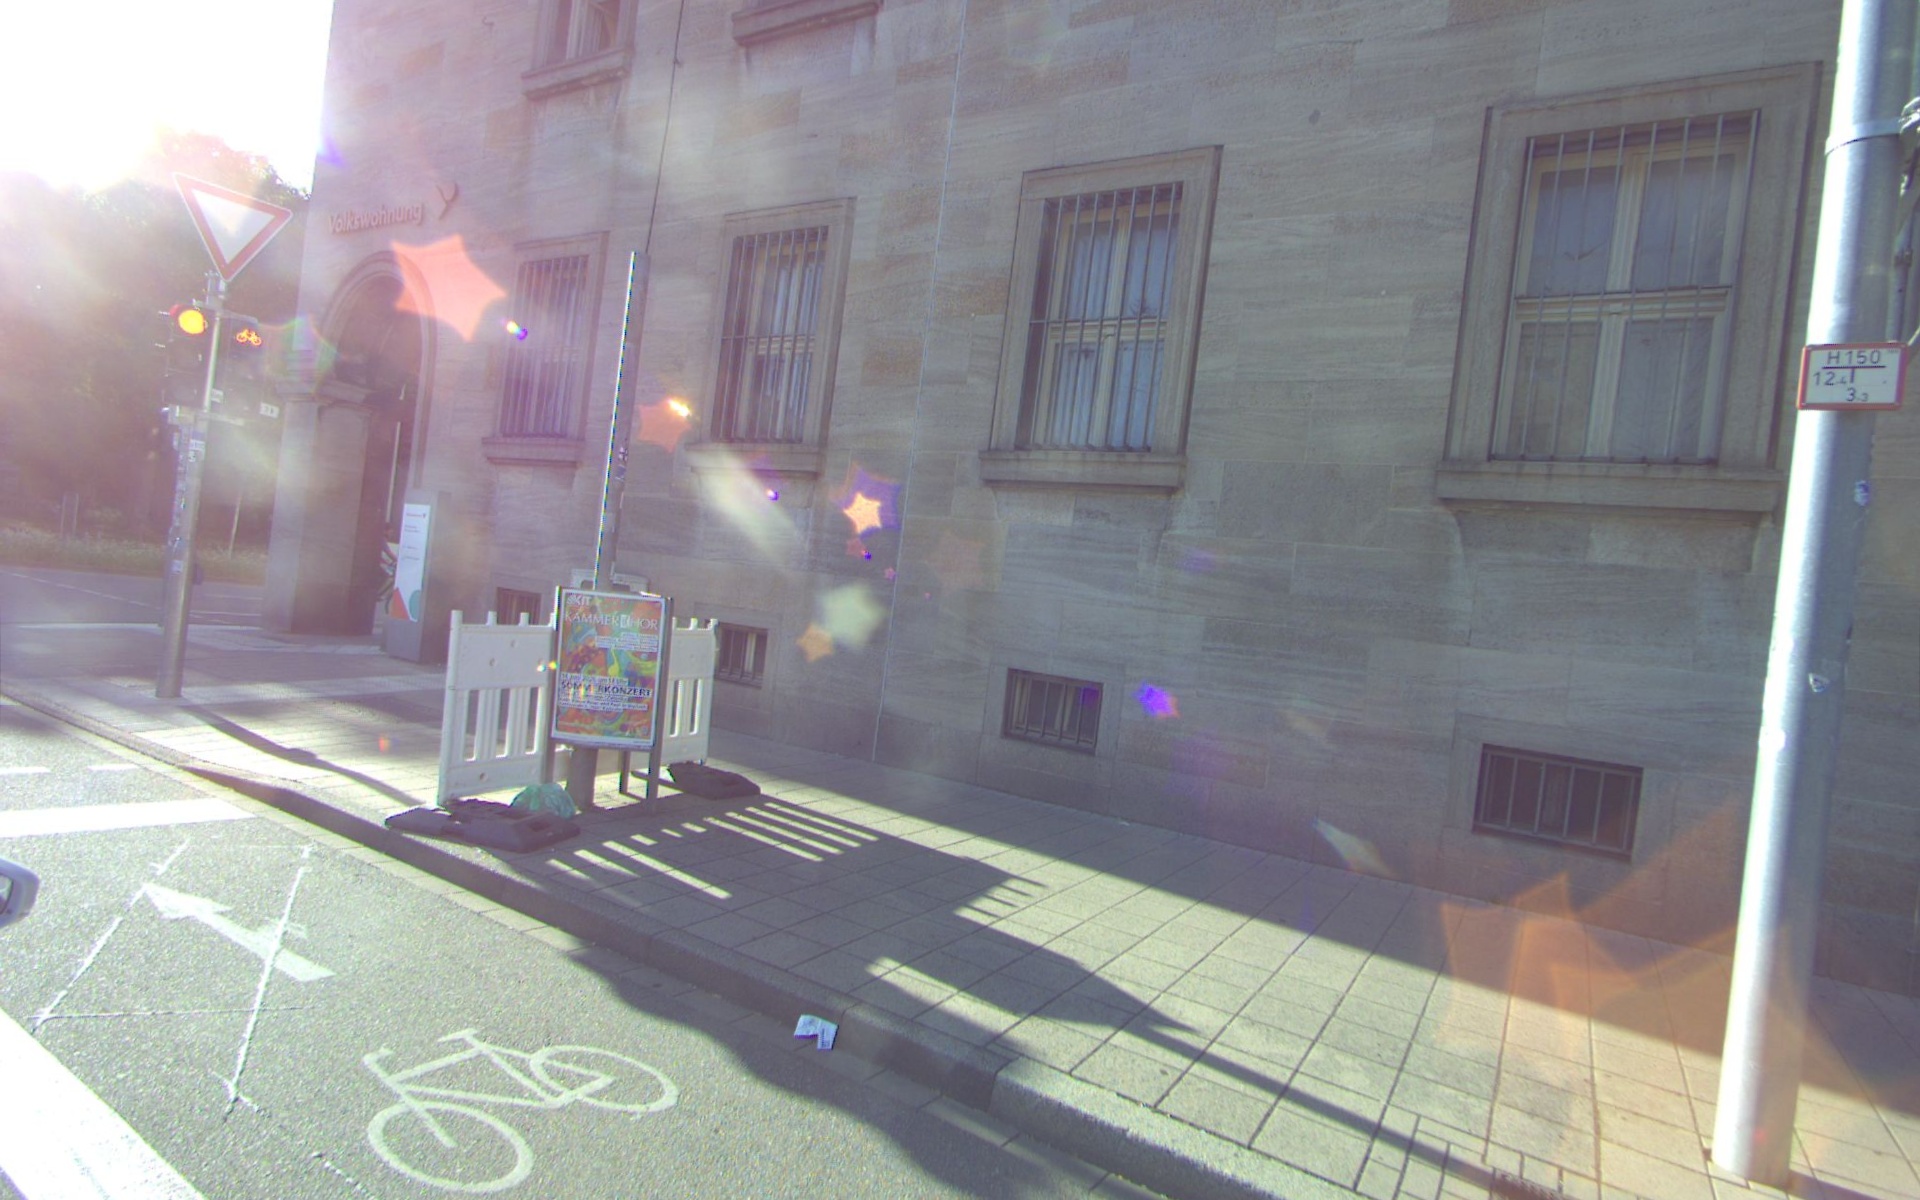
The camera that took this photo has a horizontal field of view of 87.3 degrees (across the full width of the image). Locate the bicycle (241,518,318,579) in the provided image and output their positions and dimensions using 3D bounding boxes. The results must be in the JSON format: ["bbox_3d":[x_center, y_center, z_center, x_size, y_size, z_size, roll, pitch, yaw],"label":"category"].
[{"bbox_3d":[-22.472,-1.675,33.251,0.587,1.756,1.898,7,0,35],"label":"bicycle"}]

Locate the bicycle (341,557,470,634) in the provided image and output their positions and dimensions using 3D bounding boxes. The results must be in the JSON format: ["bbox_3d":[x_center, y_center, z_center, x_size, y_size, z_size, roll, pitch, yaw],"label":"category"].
[{"bbox_3d":[-10.412,-0.059,18.954,0.755,1.172,1.872,10,1,38],"label":"bicycle"}]

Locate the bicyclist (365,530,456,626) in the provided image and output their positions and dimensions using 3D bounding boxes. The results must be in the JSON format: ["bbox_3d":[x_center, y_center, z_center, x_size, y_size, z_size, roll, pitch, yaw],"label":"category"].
[{"bbox_3d":[-10.344,-0.401,18.951,0.755,1.614,1.123,10,2,39],"label":"bicyclist"}]

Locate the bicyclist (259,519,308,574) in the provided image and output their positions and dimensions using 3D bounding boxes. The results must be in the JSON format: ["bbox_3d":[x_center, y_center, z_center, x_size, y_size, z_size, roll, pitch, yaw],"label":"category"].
[{"bbox_3d":[-22.403,-1.750,33.330,0.587,1.661,1.075,7,0,35],"label":"bicyclist"}]

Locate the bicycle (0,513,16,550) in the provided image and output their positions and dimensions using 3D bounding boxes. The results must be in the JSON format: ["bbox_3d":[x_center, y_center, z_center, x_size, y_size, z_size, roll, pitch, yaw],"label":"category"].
[{"bbox_3d":[-26.592,-1.947,26.724,0.565,0.944,2.068,7,-1,30],"label":"bicycle"}]
